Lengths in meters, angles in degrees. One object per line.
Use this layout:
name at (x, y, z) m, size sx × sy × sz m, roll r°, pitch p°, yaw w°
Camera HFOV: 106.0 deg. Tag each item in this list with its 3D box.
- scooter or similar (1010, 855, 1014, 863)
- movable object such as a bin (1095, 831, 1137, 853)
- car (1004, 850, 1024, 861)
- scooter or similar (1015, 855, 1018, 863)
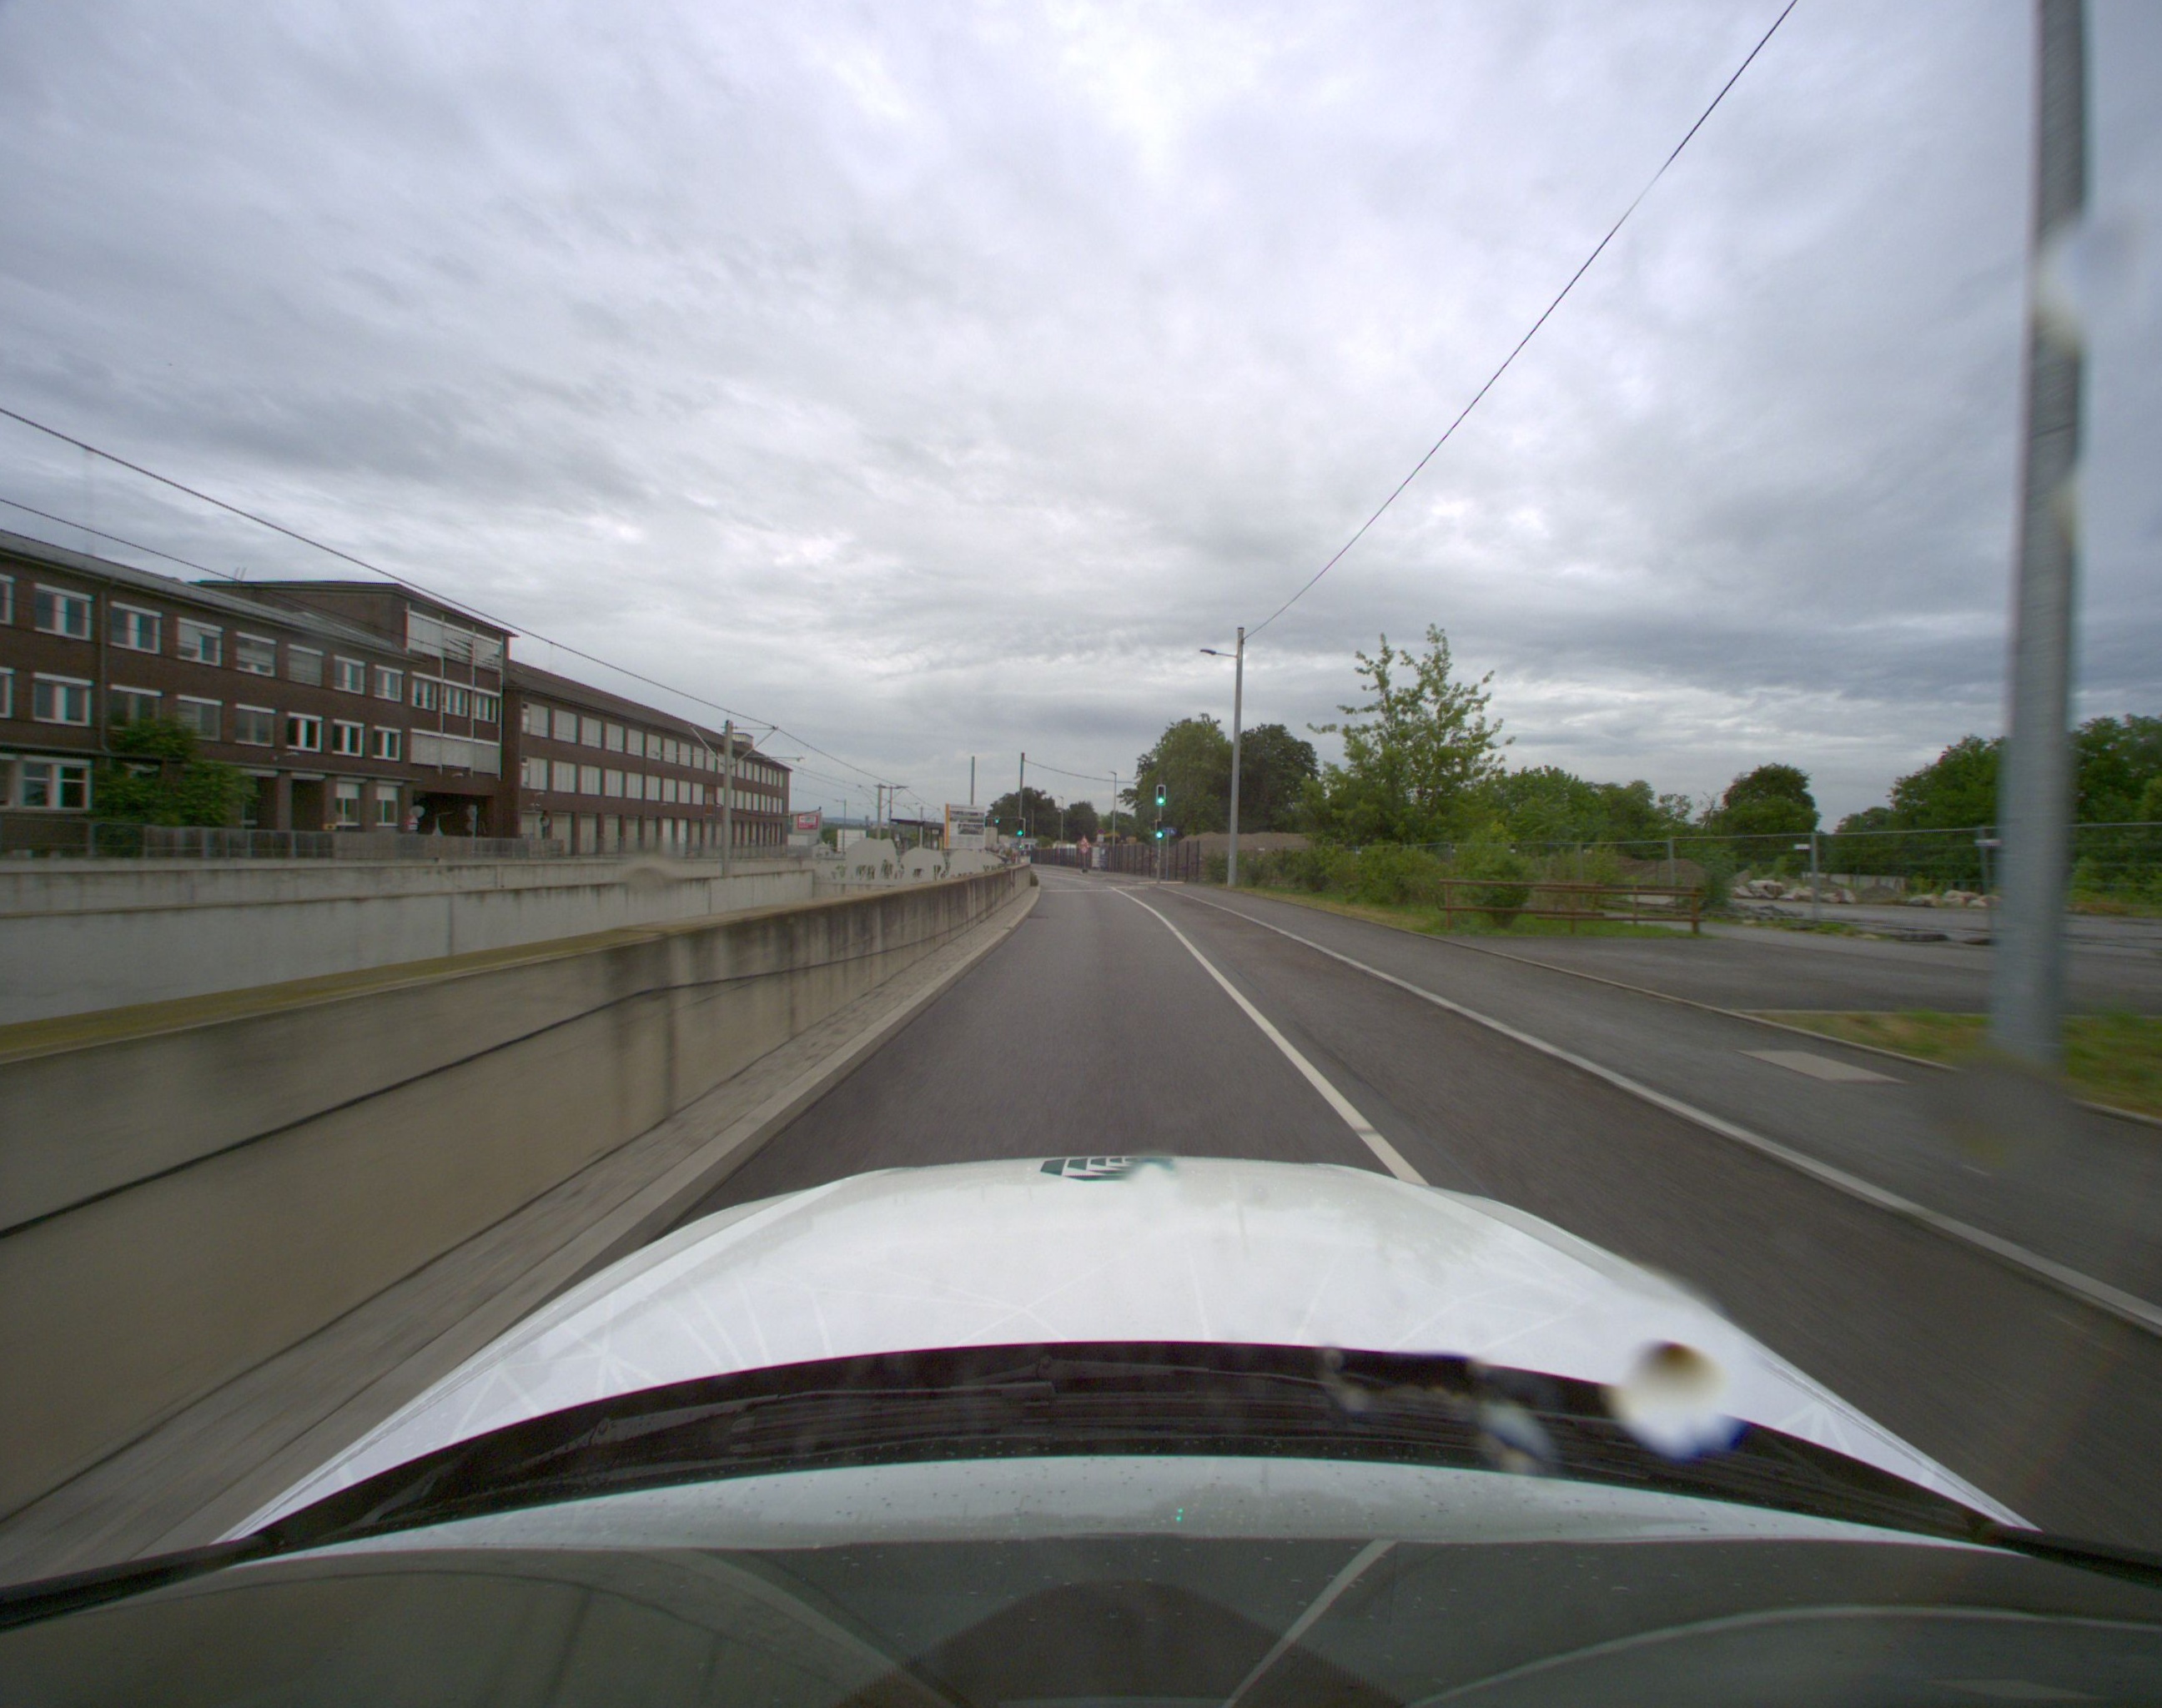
scooter or similar at (-11.584, 0.826, 136.995) m, size 0.614 × 1.351 × 1.909 m, roll 1°, pitch 0°, yaw -4°
movable object such as a bin at (9.617, -3.270, 224.736) m, size 11.206 × 5.995 × 3.487 m, roll 0°, pitch -1°, yaw -3°
car at (-11.752, 0.287, 143.129) m, size 1.804 × 1.794 × 4.431 m, roll 0°, pitch 0°, yaw 20°
scooter or similar at (-10.860, 0.802, 137.047) m, size 0.614 × 1.351 × 1.909 m, roll 1°, pitch 0°, yaw -4°
